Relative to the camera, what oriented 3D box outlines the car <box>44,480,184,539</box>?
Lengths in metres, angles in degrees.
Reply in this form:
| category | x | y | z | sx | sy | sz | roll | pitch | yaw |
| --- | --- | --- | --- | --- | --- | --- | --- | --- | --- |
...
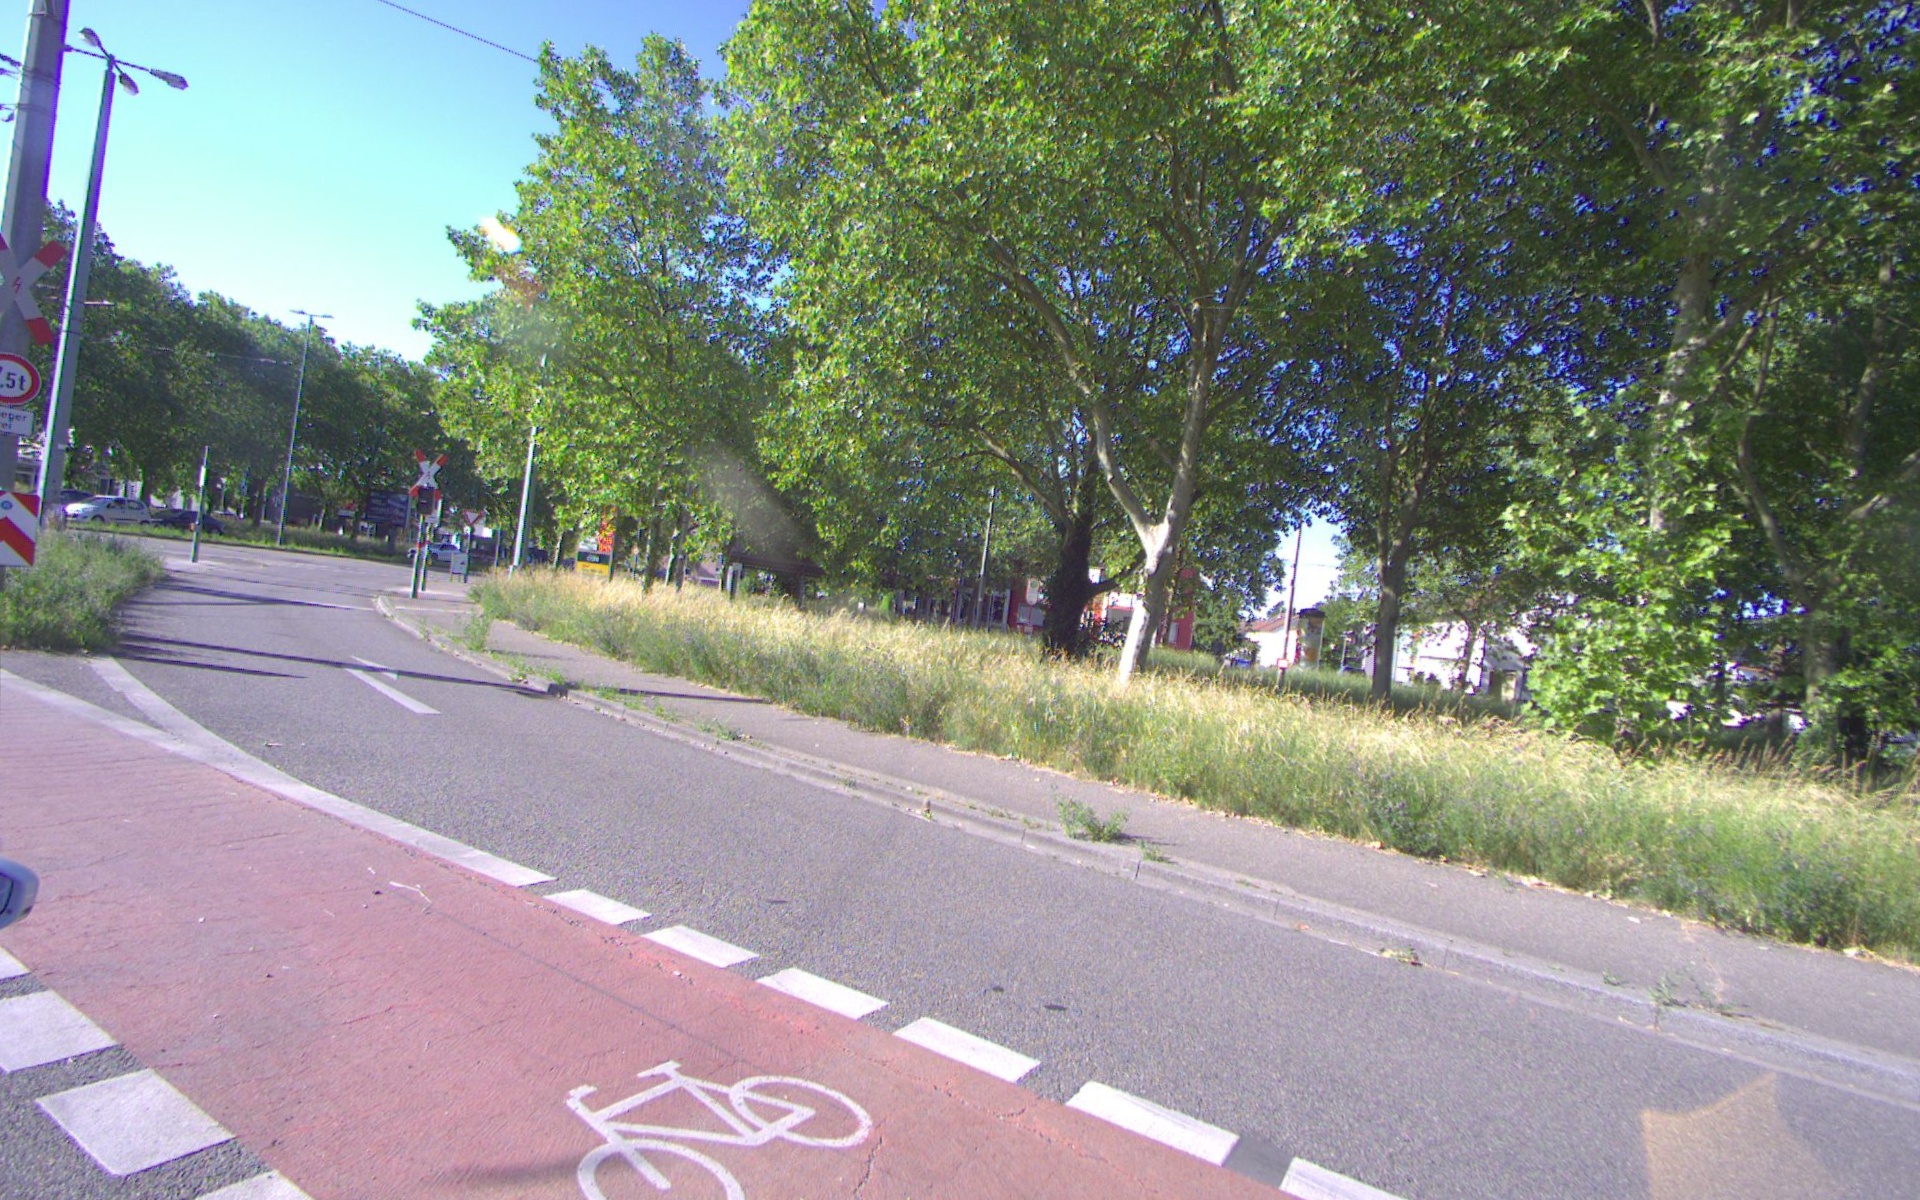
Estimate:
| category | x | y | z | sx | sy | sz | roll | pitch | yaw |
| --- | --- | --- | --- | --- | --- | --- | --- | --- | --- |
| car | -40.467 | -4.285 | 48.296 | 1.962 | 2.038 | 4.907 | 7 | -1 | 9 |

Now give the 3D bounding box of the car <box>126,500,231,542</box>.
| category | x | y | z | sx | sy | sz | roll | pitch | yaw |
| --- | --- | --- | --- | --- | --- | --- | --- | --- | --- |
| car | -42.929 | -4.305 | 55.420 | 1.661 | 1.593 | 4.528 | 7 | -1 | 9 |

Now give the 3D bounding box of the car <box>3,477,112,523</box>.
| category | x | y | z | sx | sy | sz | roll | pitch | yaw |
| --- | --- | --- | --- | --- | --- | --- | --- | --- | --- |
| car | -43.980 | -4.836 | 49.134 | 1.462 | 1.589 | 3.758 | 7 | -1 | 9 |

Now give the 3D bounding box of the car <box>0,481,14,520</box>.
| category | x | y | z | sx | sy | sz | roll | pitch | yaw |
| --- | --- | --- | --- | --- | --- | --- | --- | --- | --- |
| car | -41.041 | -4.320 | 40.572 | 1.575 | 1.549 | 4.002 | 7 | 0 | 9 |

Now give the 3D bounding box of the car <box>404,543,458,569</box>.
| category | x | y | z | sx | sy | sz | roll | pitch | yaw |
| --- | --- | --- | --- | --- | --- | --- | --- | --- | --- |
| car | -40.639 | -3.384 | 77.436 | 1.563 | 1.519 | 4.002 | 7 | -1 | 7 |
